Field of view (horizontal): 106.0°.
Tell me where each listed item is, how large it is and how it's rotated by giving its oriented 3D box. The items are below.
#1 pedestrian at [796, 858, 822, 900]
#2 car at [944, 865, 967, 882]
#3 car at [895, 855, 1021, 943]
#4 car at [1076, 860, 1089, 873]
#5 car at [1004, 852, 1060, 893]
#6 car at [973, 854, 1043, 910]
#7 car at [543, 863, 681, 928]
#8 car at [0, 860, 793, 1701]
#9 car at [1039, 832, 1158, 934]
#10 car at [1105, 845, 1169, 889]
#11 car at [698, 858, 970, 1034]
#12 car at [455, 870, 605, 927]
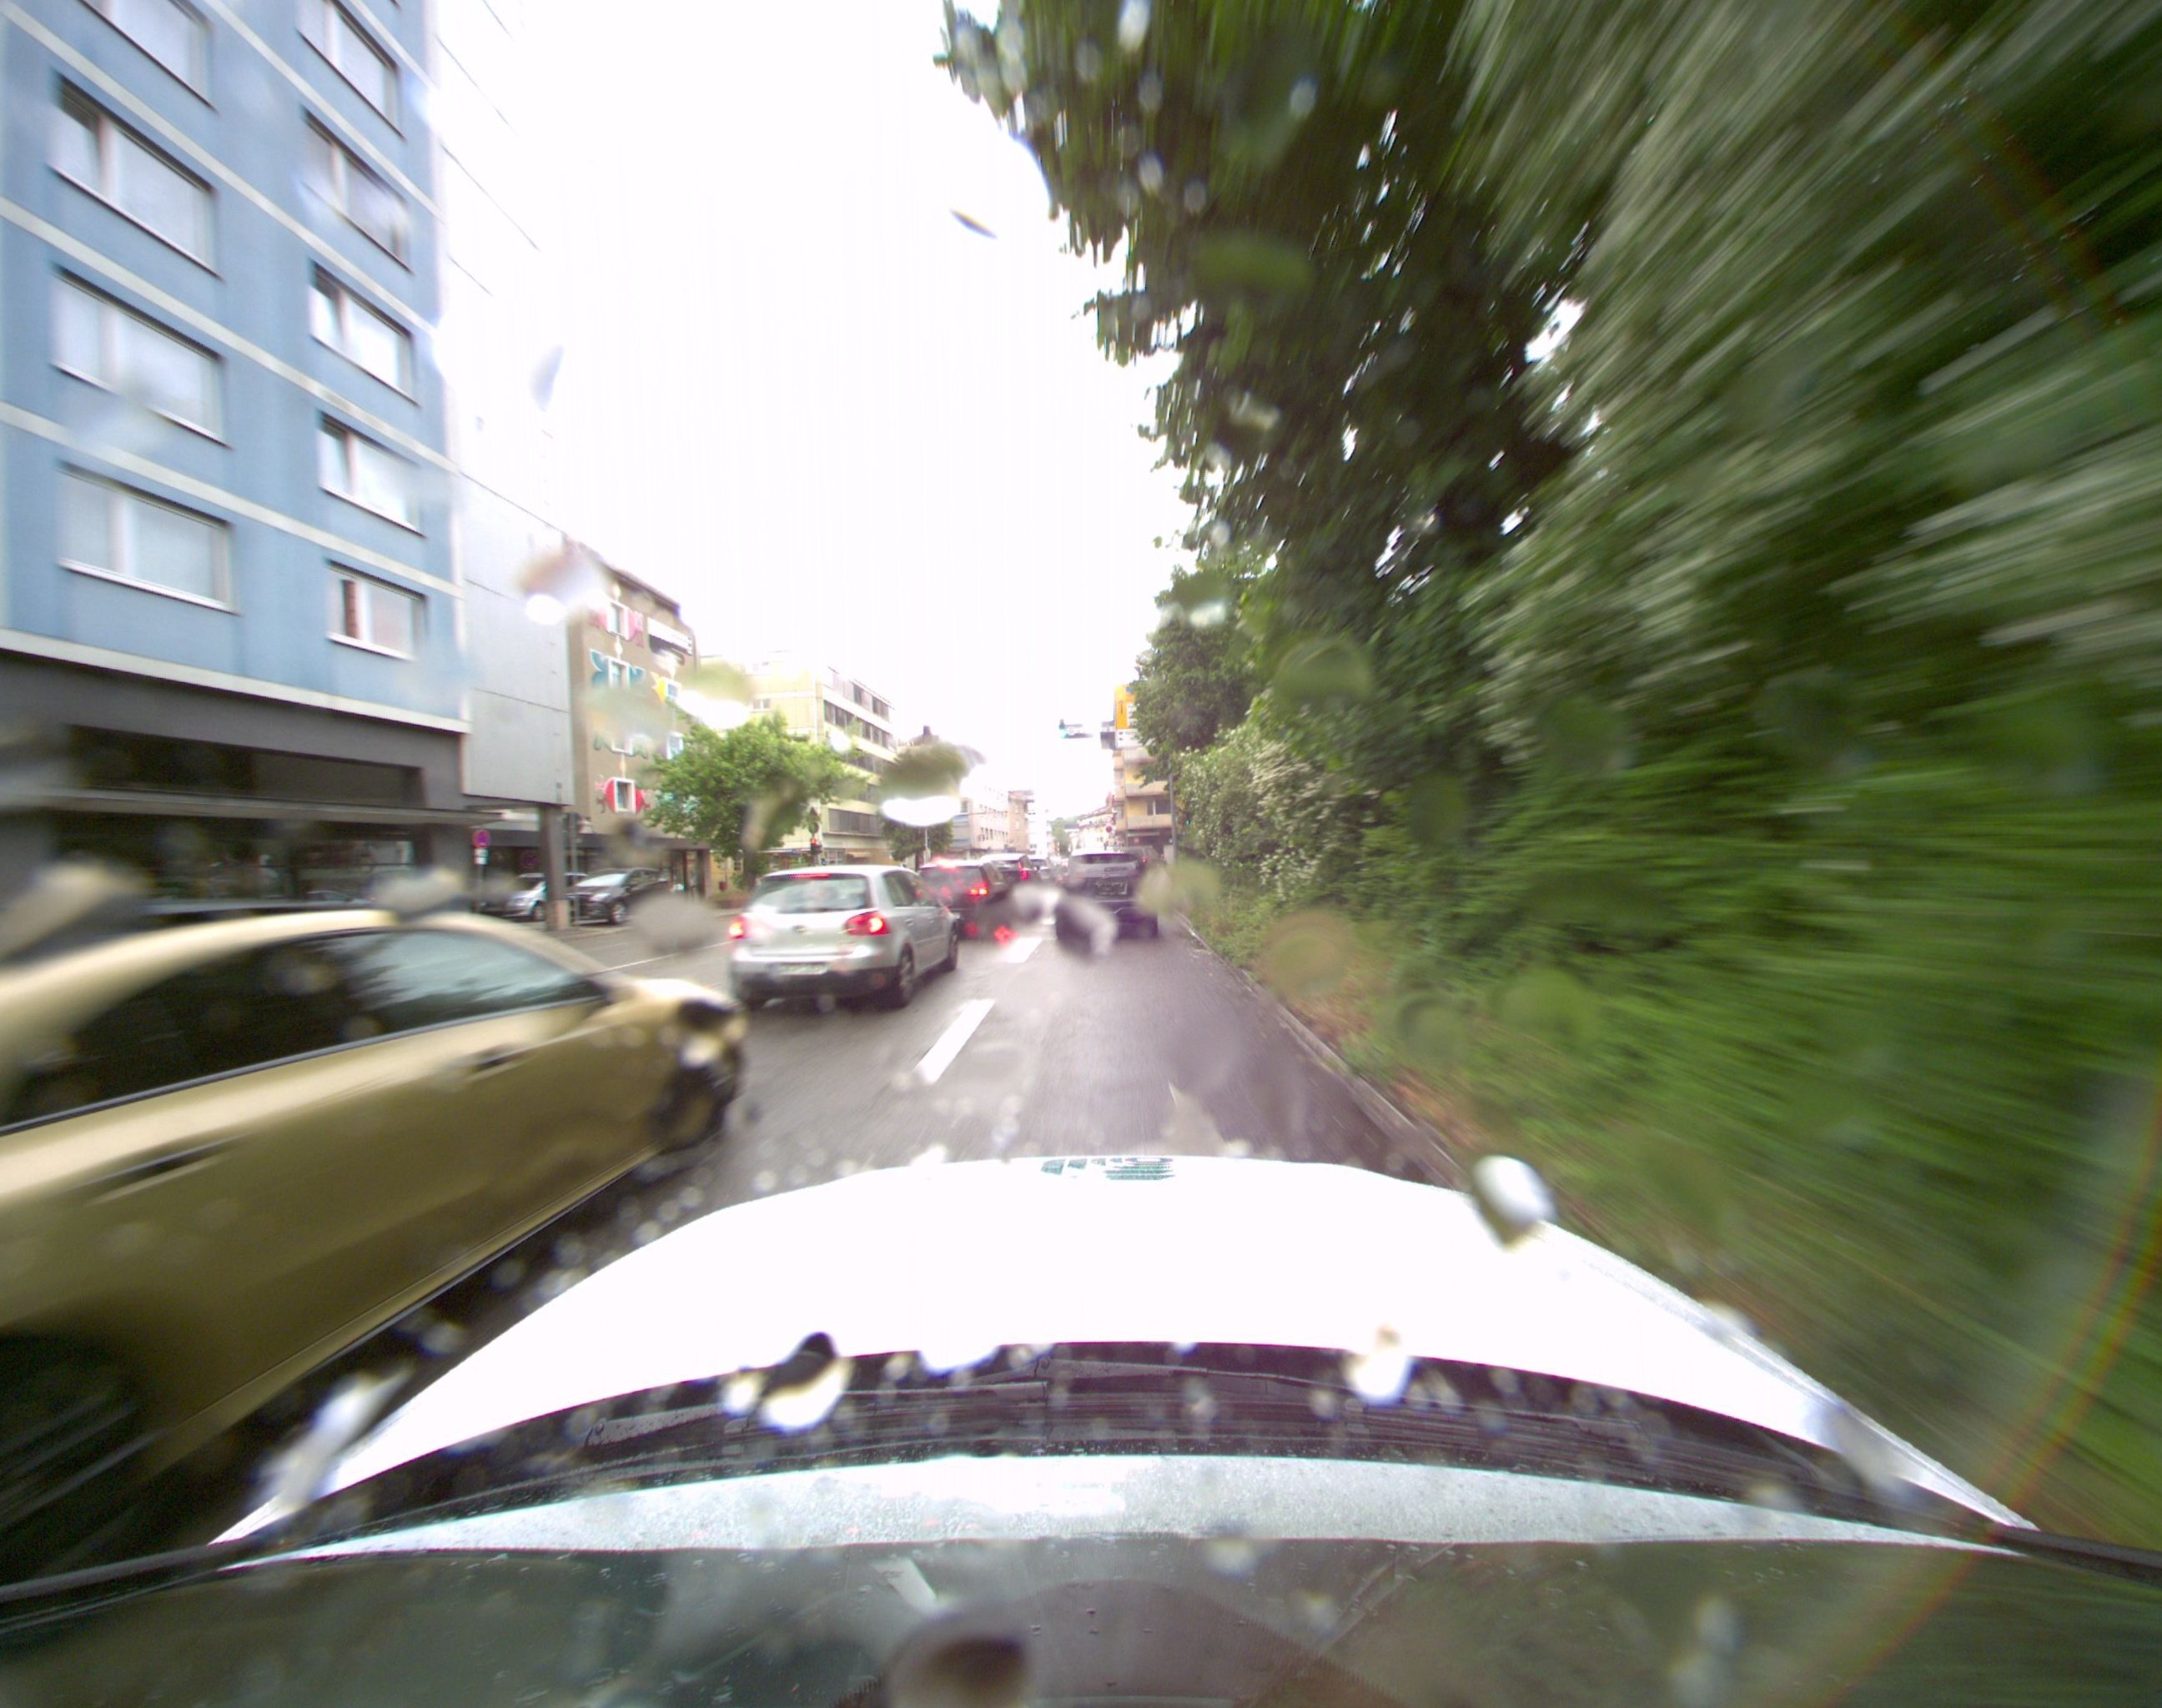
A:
[{"bbox_3d":[-13.376,1.225,40.108,0.939,2.013,0.884,-4,0,-8],"label":"pedestrian"},{"bbox_3d":[-12.696,1.956,82.781,1.667,1.478,3.607,-4,0,0],"label":"car"},{"bbox_3d":[-2.317,0.794,16.346,1.749,1.453,4.002,-3,0,2],"label":"car"},{"bbox_3d":[0.365,2.261,146.984,1.985,2.013,4.003,-5,0,3],"label":"car"},{"bbox_3d":[-1.880,0.684,32.398,1.760,1.444,4.002,-3,0,2],"label":"car"},{"bbox_3d":[-2.065,0.762,24.062,1.607,1.420,3.967,-2,0,1],"label":"car"},{"bbox_3d":[-14.102,1.167,24.794,1.533,1.706,4.289,-2,0,2],"label":"car"},{"bbox_3d":[-2.962,0.834,2.860,2.058,1.464,4.589,-3,0,2],"label":"car"},{"bbox_3d":[0.311,0.483,15.652,1.953,1.653,4.000,-1,0,0],"label":"car"},{"bbox_3d":[2.938,0.619,41.733,1.976,2.013,4.022,-3,0,23],"label":"car"},{"bbox_3d":[-2.542,0.851,9.504,1.737,1.487,4.163,-3,0,1],"label":"car"},{"bbox_3d":[-18.859,1.444,28.181,1.987,1.655,4.511,-2,0,1],"label":"car"}]
